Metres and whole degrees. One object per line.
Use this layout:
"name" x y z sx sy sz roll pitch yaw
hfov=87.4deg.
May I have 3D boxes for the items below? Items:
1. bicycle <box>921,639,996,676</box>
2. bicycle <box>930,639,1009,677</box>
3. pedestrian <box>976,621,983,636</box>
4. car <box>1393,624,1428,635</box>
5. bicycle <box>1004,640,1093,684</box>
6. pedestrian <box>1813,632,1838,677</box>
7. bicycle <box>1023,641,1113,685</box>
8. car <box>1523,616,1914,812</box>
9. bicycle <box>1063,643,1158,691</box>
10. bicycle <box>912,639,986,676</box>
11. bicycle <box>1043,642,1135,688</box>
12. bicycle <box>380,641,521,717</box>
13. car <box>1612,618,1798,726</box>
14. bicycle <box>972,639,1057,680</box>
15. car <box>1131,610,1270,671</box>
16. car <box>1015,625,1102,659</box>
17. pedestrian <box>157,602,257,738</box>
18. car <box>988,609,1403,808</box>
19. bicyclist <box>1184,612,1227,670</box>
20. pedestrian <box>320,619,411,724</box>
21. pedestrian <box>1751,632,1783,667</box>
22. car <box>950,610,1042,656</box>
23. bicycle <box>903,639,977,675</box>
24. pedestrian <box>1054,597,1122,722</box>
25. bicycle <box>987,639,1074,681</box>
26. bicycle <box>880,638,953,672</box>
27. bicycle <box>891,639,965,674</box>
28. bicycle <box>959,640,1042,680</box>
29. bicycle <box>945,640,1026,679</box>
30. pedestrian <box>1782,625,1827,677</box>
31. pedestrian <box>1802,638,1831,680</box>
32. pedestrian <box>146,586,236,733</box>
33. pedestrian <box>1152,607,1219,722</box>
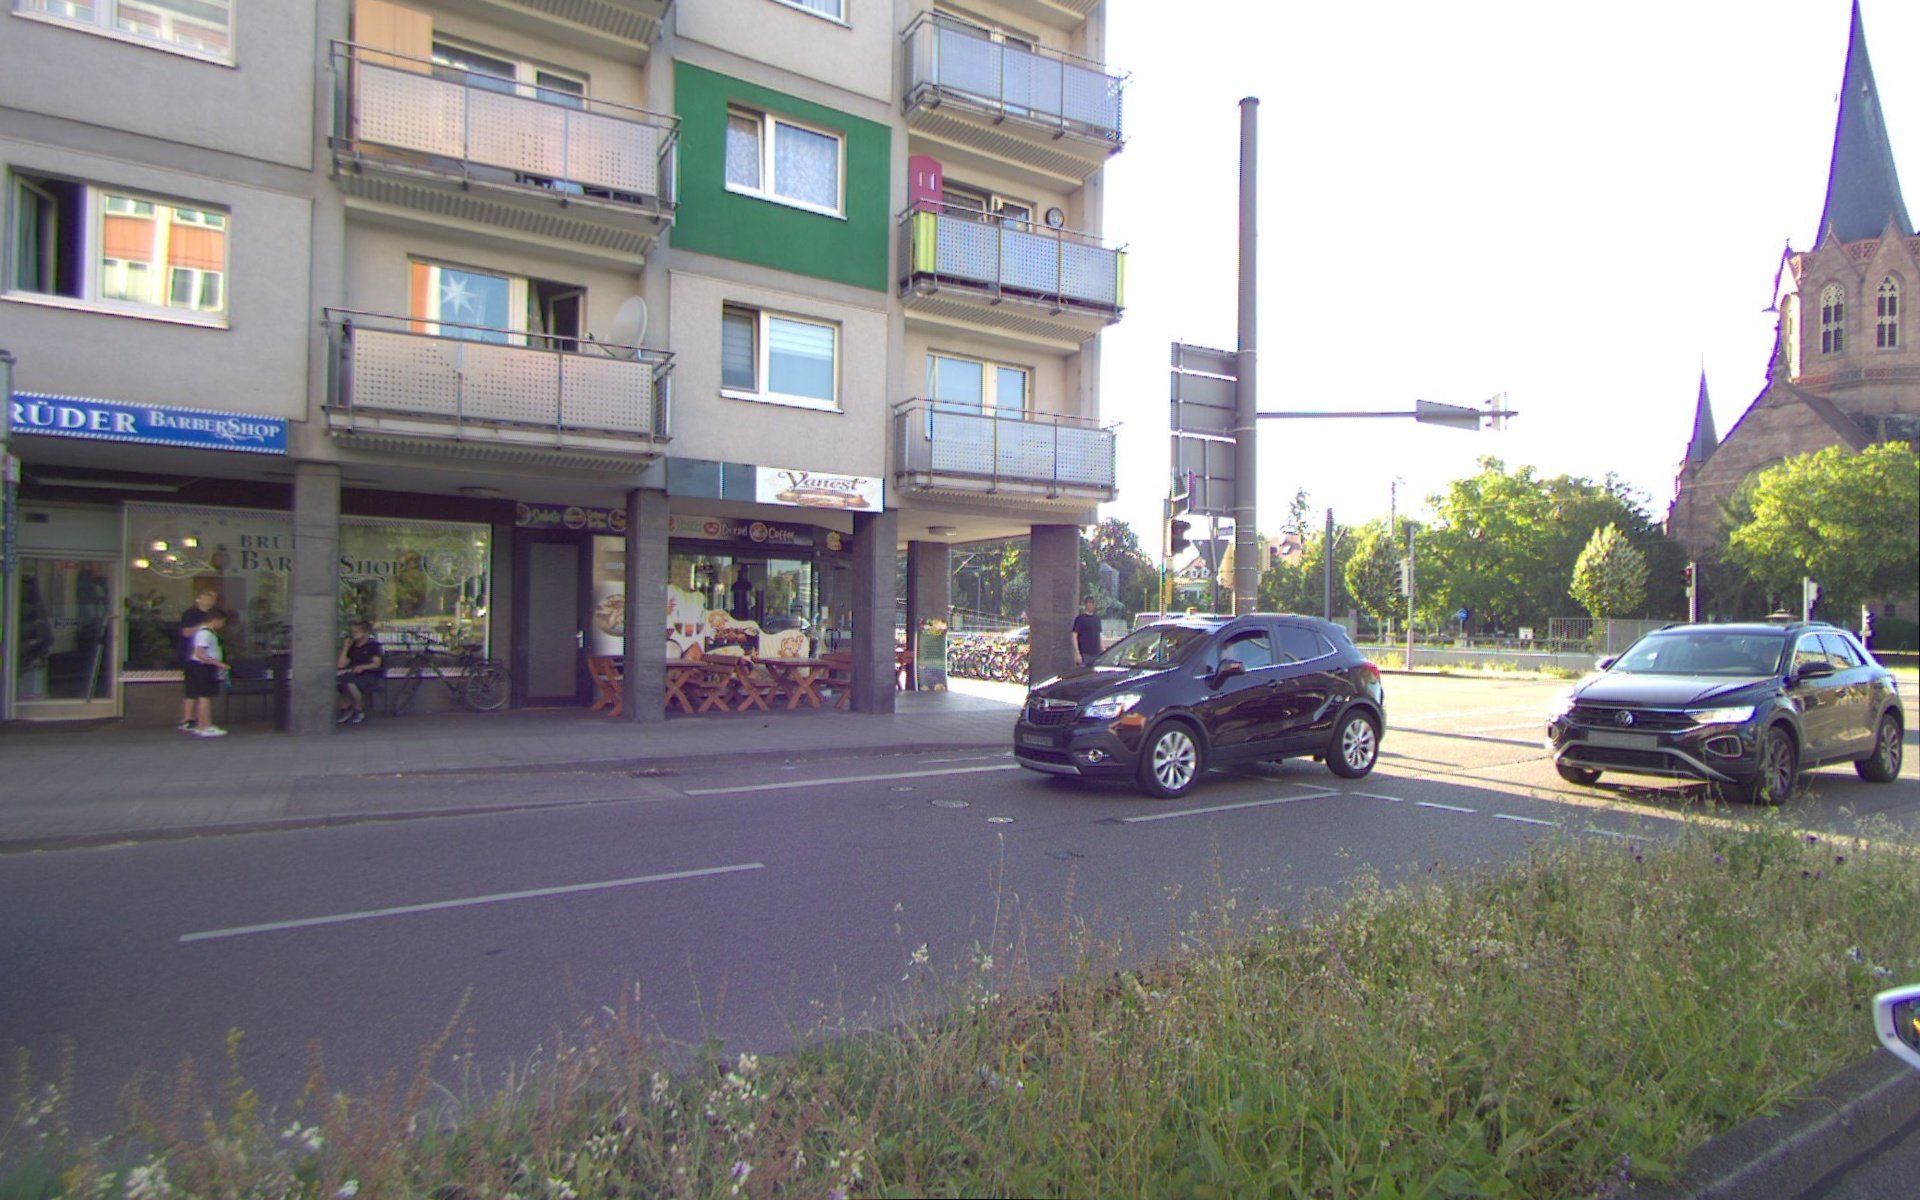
"bicycle" -0.034 1.716 29.941 2.273 1.065 0.558 2 -2 -31
"bicycle" 0.292 1.700 29.356 2.273 1.065 0.731 2 -2 -31
"pedestrian" 2.314 3.356 118.641 0.677 1.847 0.531 2 -1 -27
"car" 67.747 4.412 151.058 1.985 1.592 4.411 2 -2 -41
"bicycle" 2.294 1.582 25.805 2.273 1.065 0.731 2 -2 -31
"pedestrian" 34.625 2.168 40.172 0.700 1.719 0.891 2 0 43
"bicycle" 2.718 1.566 25.138 2.273 1.065 0.731 2 -2 -31
"car" 7.472 0.973 9.812 4.056 1.565 1.667 1 -3 -31
"bicycle" 3.578 1.573 23.772 2.273 1.065 0.731 2 -1 -31
"bicycle" -0.329 1.733 30.449 2.273 1.065 0.558 2 -2 -31
"bicycle" 3.154 1.579 24.455 2.273 1.065 0.731 2 -2 -31
"bicycle" -7.234 1.102 14.311 1.684 1.012 0.619 2 -2 -40
"car" 12.216 1.126 16.454 2.777 1.614 1.527 1 -2 -32
"bicycle" 1.495 1.601 27.305 2.273 1.065 0.731 2 -2 -31
"car" 8.564 1.414 36.169 1.978 2.040 4.896 2 -2 -32
"car" 4.219 1.804 43.517 1.781 1.392 3.880 2 -2 -32
"pedestrian" -8.516 0.778 11.381 0.613 1.486 0.658 1 -1 -3
"car" 2.437 0.968 10.166 4.055 1.650 1.711 1 -2 -31
"bicyclist" 7.010 1.171 28.687 0.952 1.619 0.732 1 -2 -30
"pedestrian" -7.827 0.925 13.258 0.613 1.331 0.811 0 -1 16
"pedestrian" 41.562 2.533 51.741 0.828 1.719 1.017 2 0 -1
"car" 1.648 1.542 47.553 1.978 2.040 4.896 2 -2 -32
"bicycle" -0.606 1.744 30.958 2.273 1.065 0.642 2 -2 -31
"pedestrian" 2.024 0.924 15.936 0.802 1.900 0.605 1 2 -30
"bicycle" 1.881 1.591 26.615 2.273 1.065 0.731 2 -2 -31
"bicycle" -1.396 1.773 32.333 2.273 1.065 0.731 2 -2 -31
"bicycle" -0.991 1.777 31.643 2.273 1.065 0.731 2 -2 -31
"bicycle" 1.131 1.659 27.984 2.273 1.065 0.731 2 -2 -31
"bicycle" 0.730 1.686 28.675 2.273 1.065 0.731 2 -2 -31
"pedestrian" 28.923 1.740 34.405 0.803 1.762 0.960 2 -1 -32
"pedestrian" 36.342 2.504 42.634 0.831 1.719 1.013 2 0 36
"pedestrian" -9.189 0.697 12.011 0.615 1.694 0.657 0 -1 33
"pedestrian" 3.689 1.035 16.456 0.802 1.811 0.606 1 2 -27
